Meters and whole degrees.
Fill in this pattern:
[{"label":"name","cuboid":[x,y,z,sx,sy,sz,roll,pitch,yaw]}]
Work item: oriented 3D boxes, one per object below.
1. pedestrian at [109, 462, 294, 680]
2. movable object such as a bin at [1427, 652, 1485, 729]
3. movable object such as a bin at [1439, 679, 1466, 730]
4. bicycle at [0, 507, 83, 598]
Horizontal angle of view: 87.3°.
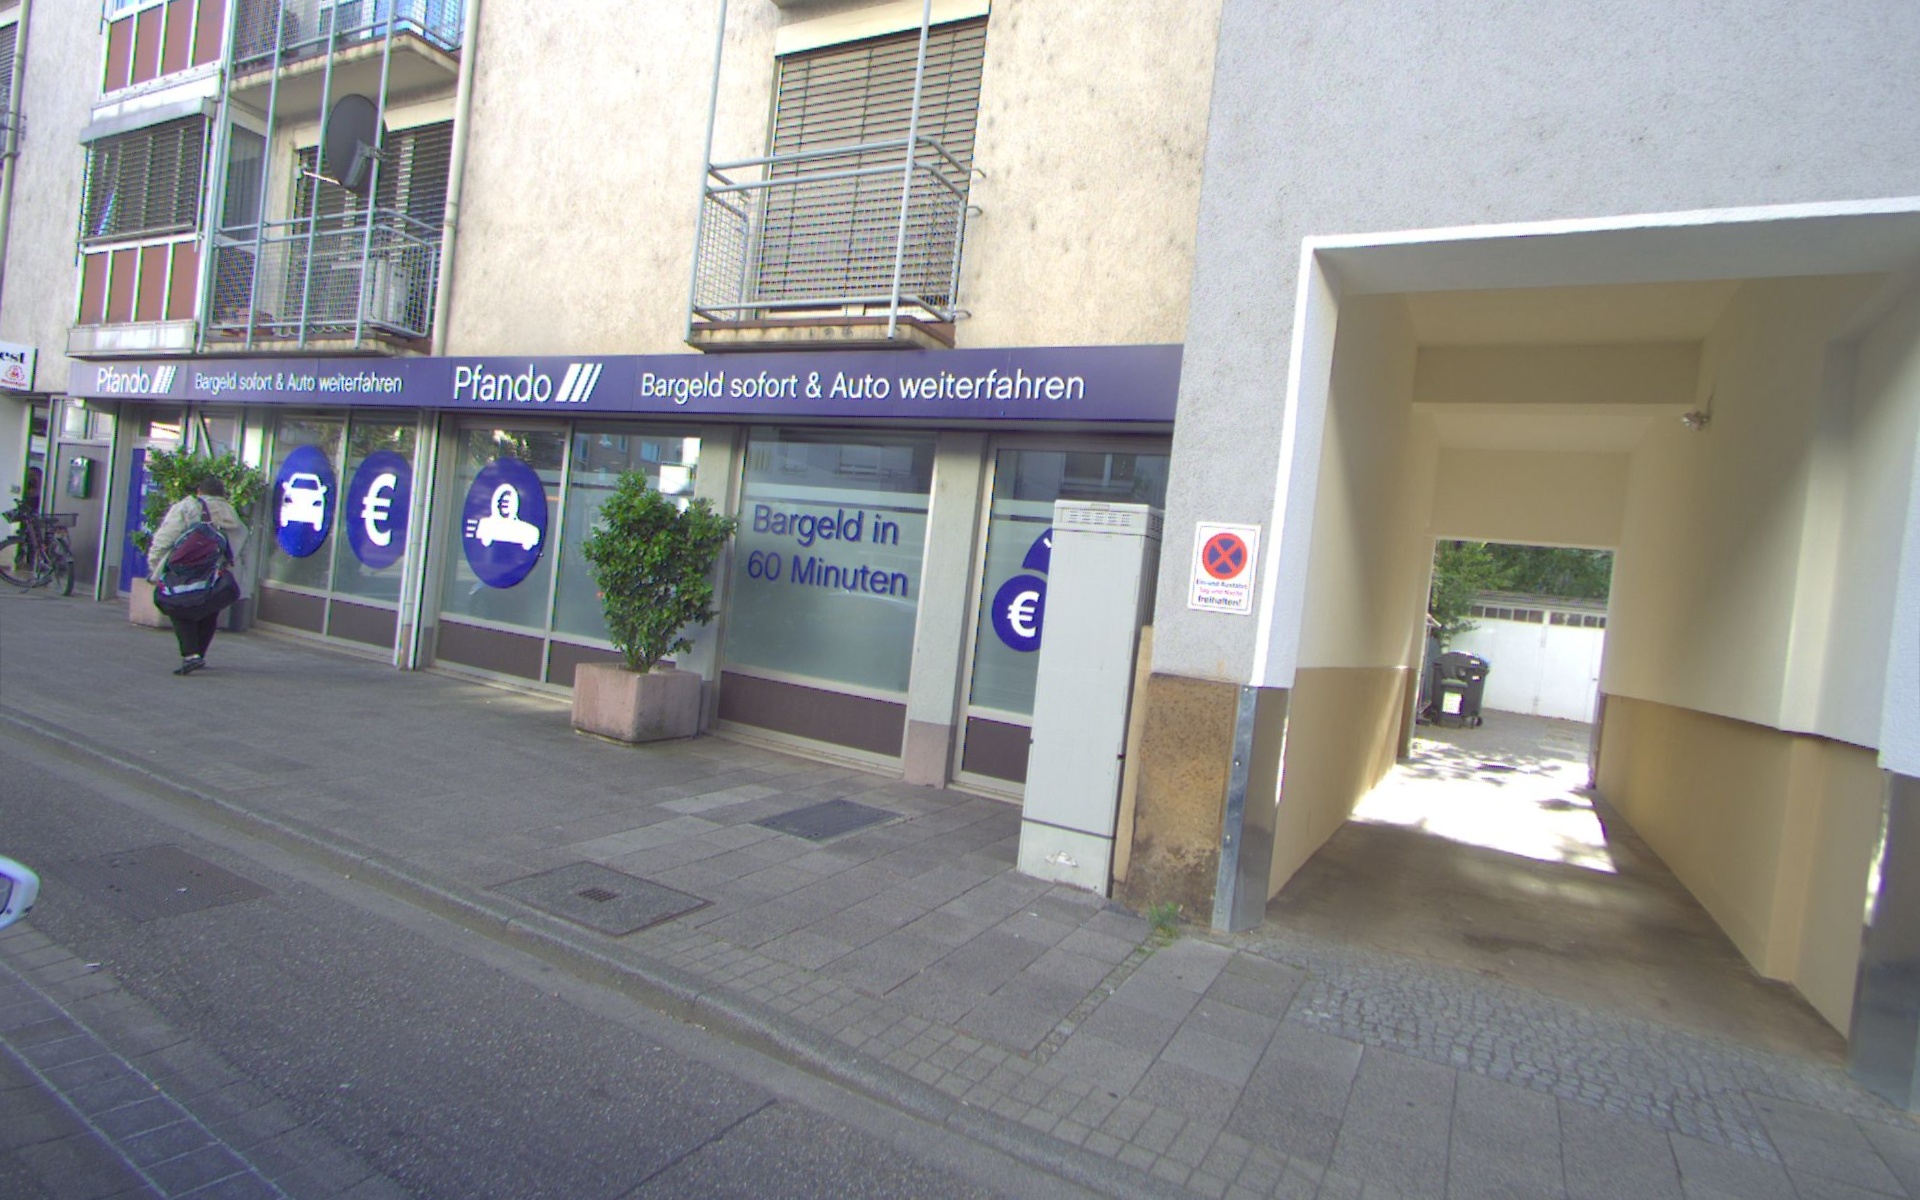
[{"label":"pedestrian","cuboid":[-6.122,-0.220,8.140,0.738,1.611,0.827,6,-1,31]},{"label":"movable object such as a bin","cuboid":[9.937,1.796,20.152,0.873,1.411,0.758,7,2,28]},{"label":"movable object such as a bin","cuboid":[9.517,2.014,19.449,0.365,0.920,0.420,7,2,28]},{"label":"bicycle","cuboid":[-11.923,-0.628,12.831,1.678,1.010,0.543,6,-1,32]}]
